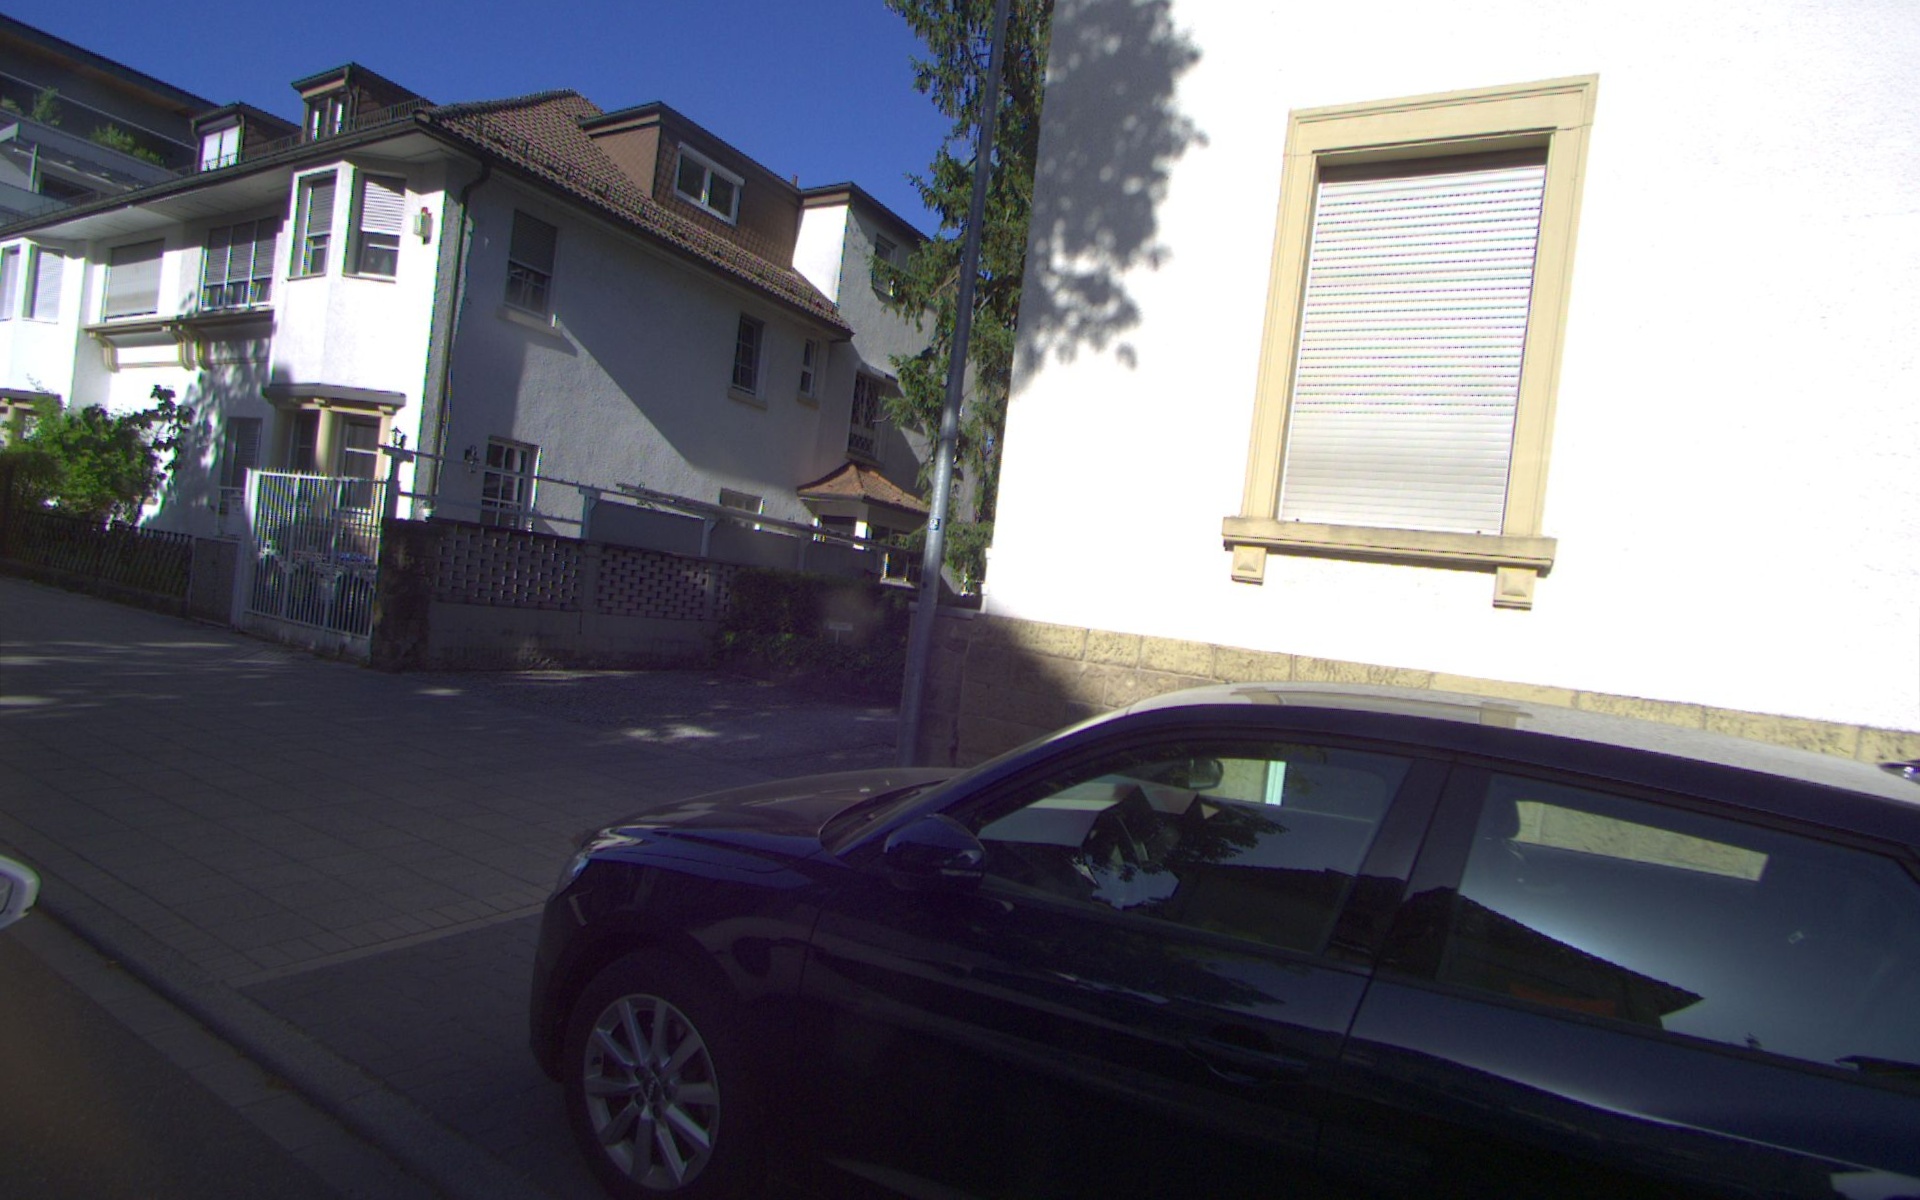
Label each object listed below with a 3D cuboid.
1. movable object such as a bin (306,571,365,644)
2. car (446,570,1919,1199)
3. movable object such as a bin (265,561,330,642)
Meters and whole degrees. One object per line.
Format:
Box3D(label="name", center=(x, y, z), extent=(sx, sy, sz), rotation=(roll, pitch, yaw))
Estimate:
Box3D(label="movable object such as a bin", center=(-8.491, 0.102, 13.685), extent=(0.440, 0.913, 0.423), rotation=(5, -3, 31))
Box3D(label="car", center=(0.788, 0.875, 2.341), extent=(3.868, 1.458, 1.621), rotation=(7, 1, 30))
Box3D(label="movable object such as a bin", center=(-8.738, 0.023, 13.271), extent=(0.483, 0.980, 0.451), rotation=(5, -3, 31))
